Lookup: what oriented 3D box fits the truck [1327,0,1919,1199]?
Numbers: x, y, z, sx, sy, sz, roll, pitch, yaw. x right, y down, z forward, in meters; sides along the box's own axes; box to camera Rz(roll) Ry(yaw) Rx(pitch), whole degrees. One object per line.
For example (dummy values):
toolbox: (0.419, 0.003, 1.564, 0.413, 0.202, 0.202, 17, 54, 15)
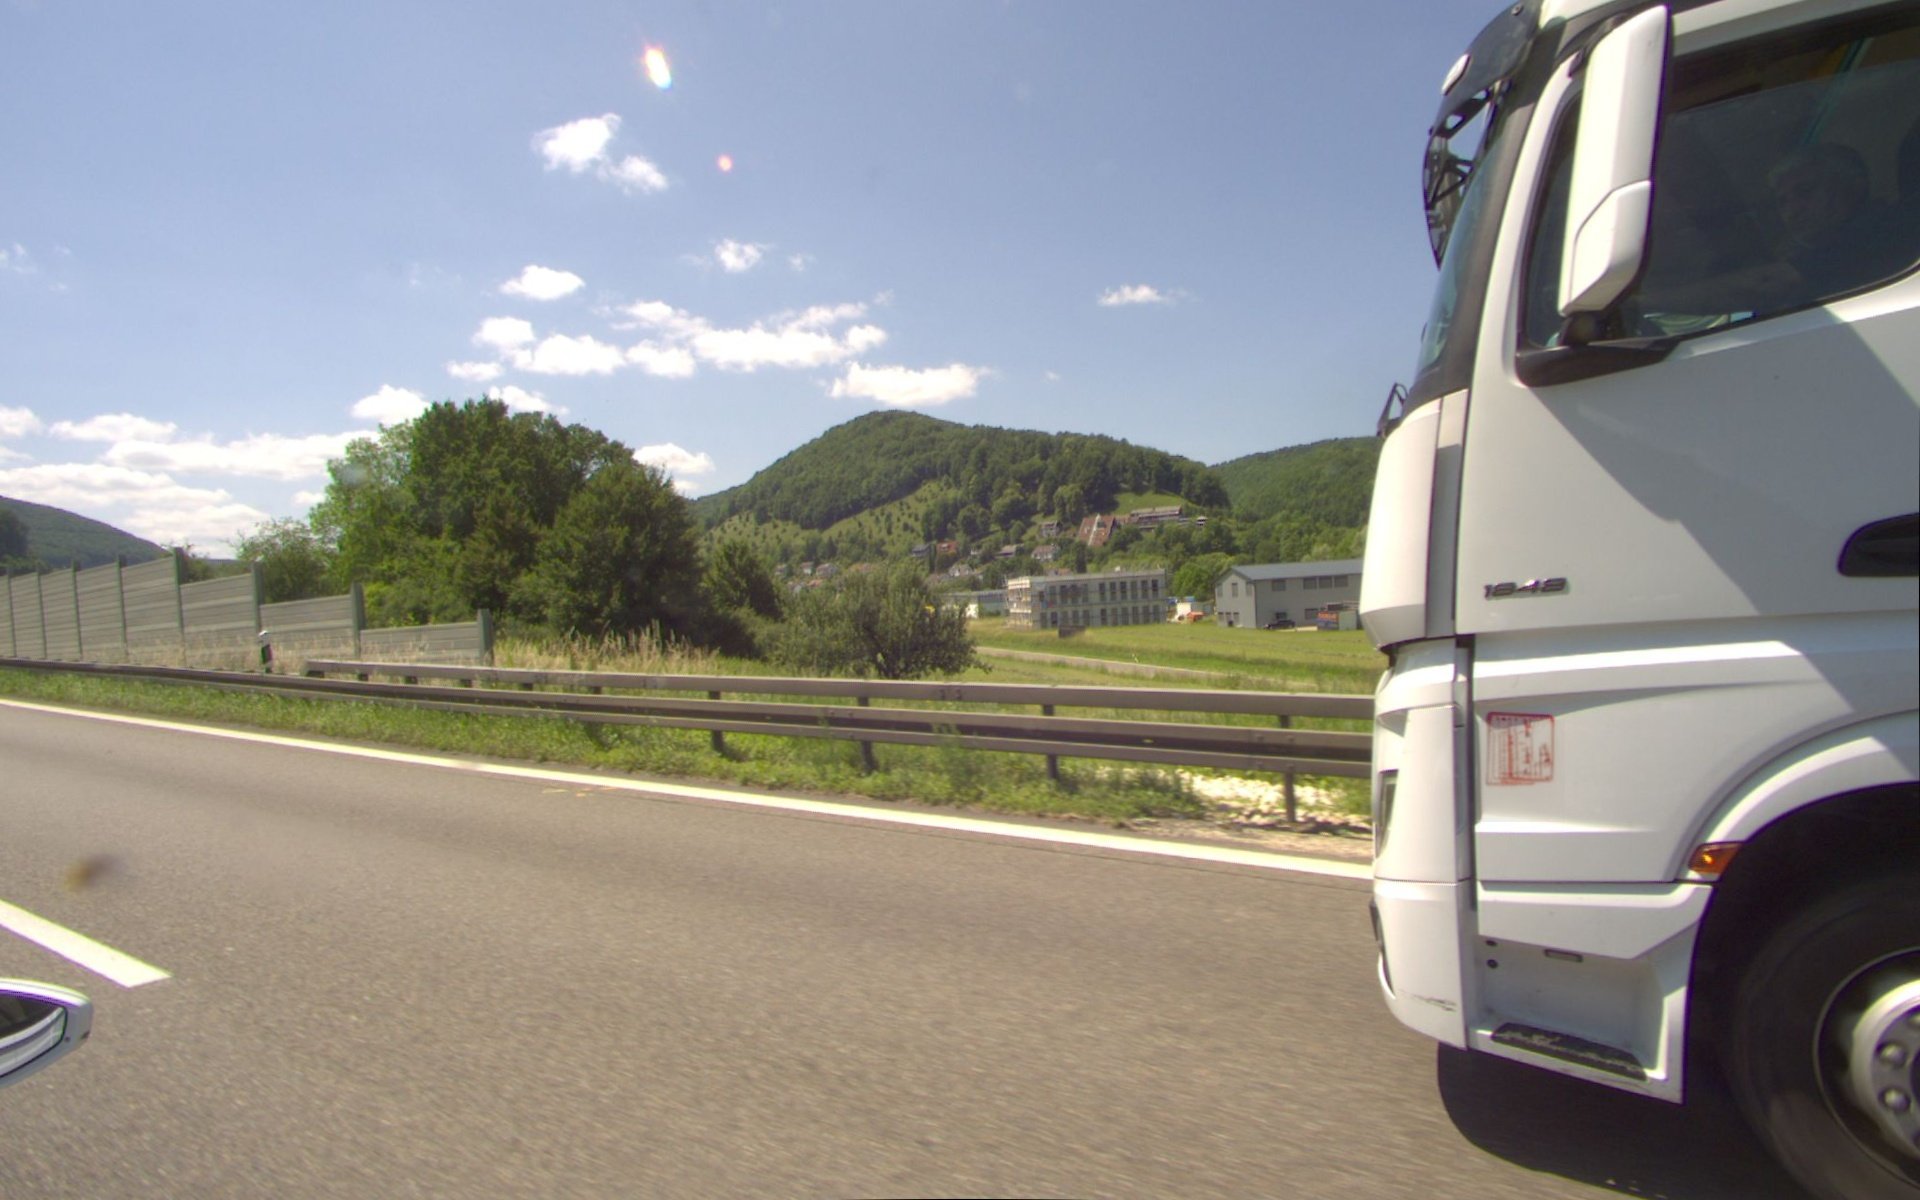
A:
truck: (4.136, -0.555, 2.571, 5.667, 4.120, 2.717, -1, -1, 29)
